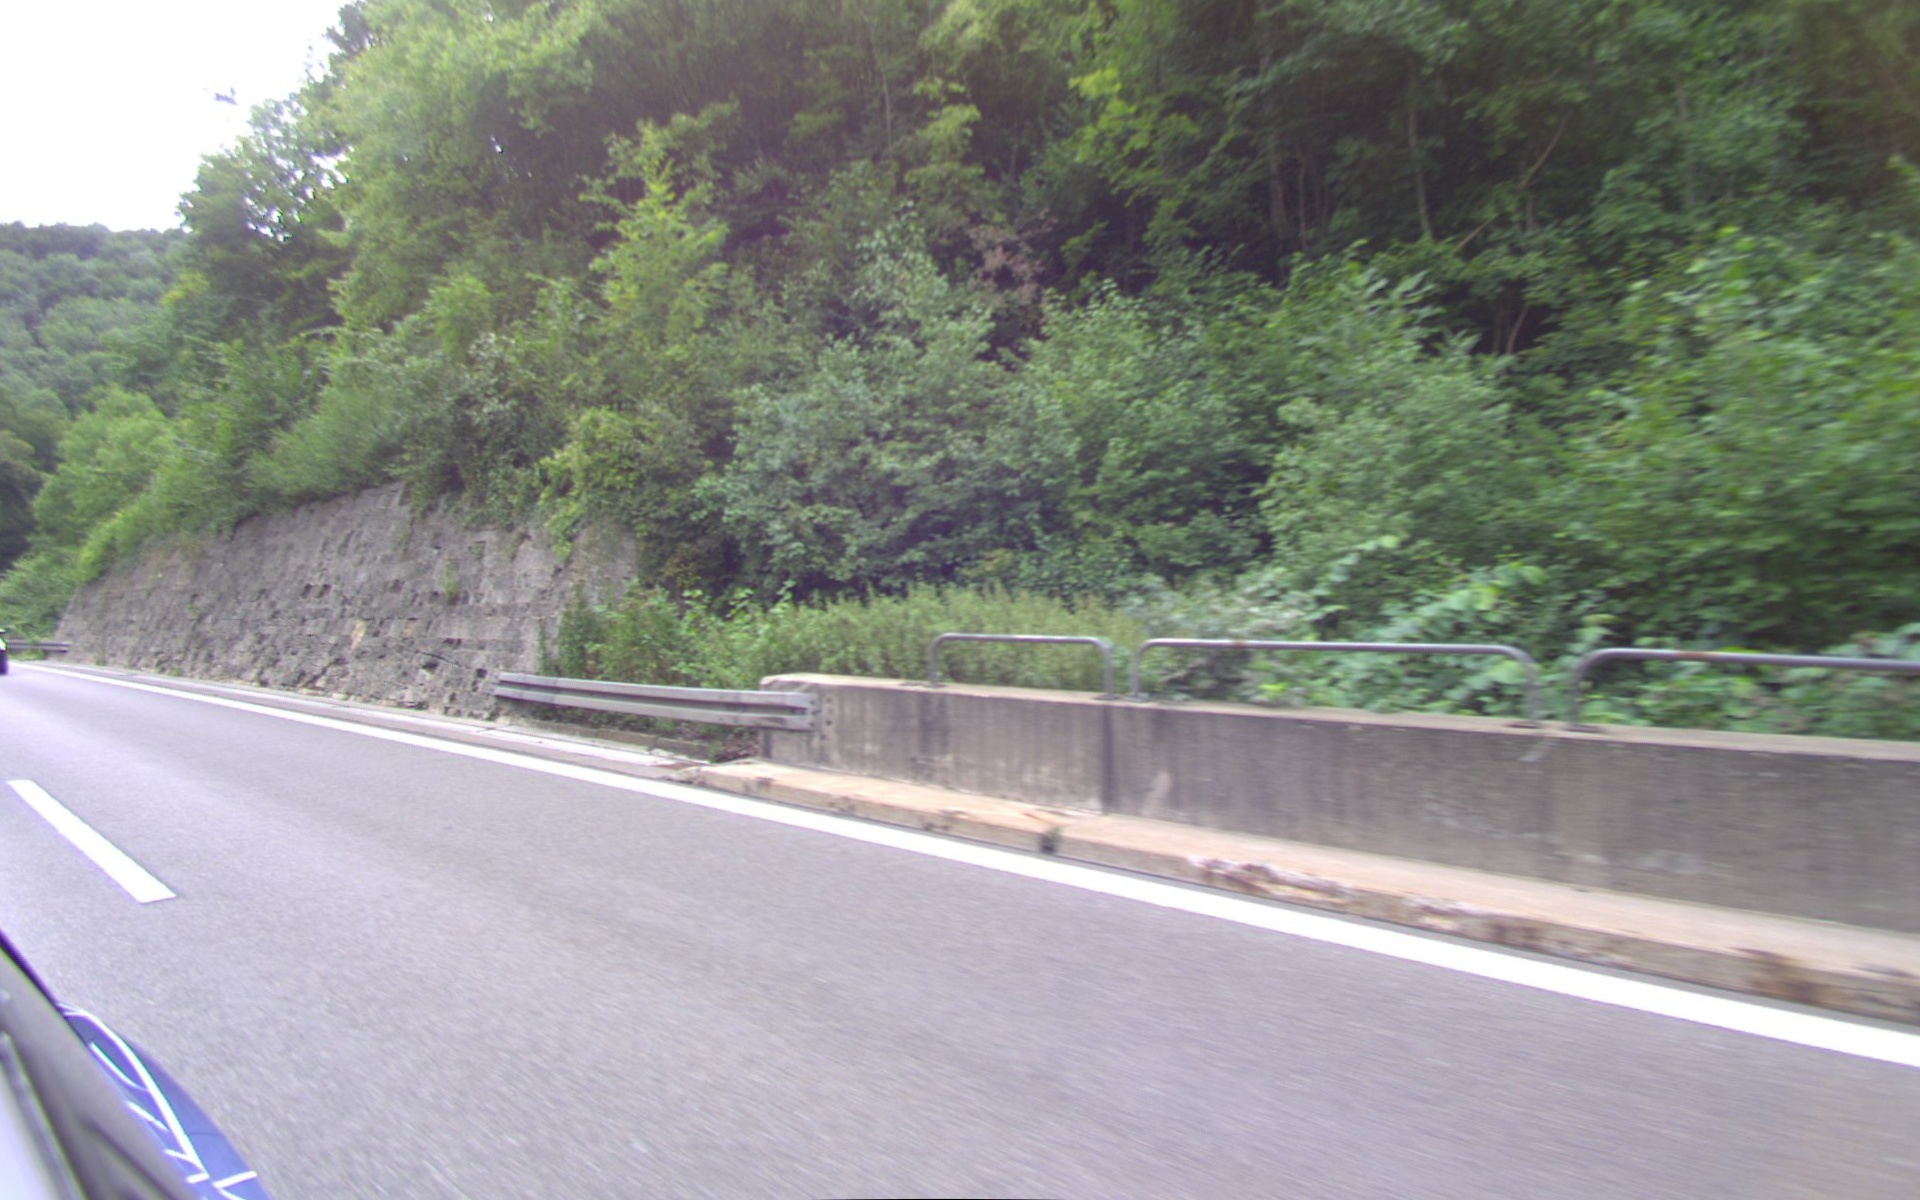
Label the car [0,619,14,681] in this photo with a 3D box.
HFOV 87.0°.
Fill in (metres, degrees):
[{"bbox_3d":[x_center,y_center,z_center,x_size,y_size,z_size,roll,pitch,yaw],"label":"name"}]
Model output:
[{"bbox_3d":[-27.901,1.408,27.895,5.002,1.644,1.974,-2,1,39],"label":"car"}]
